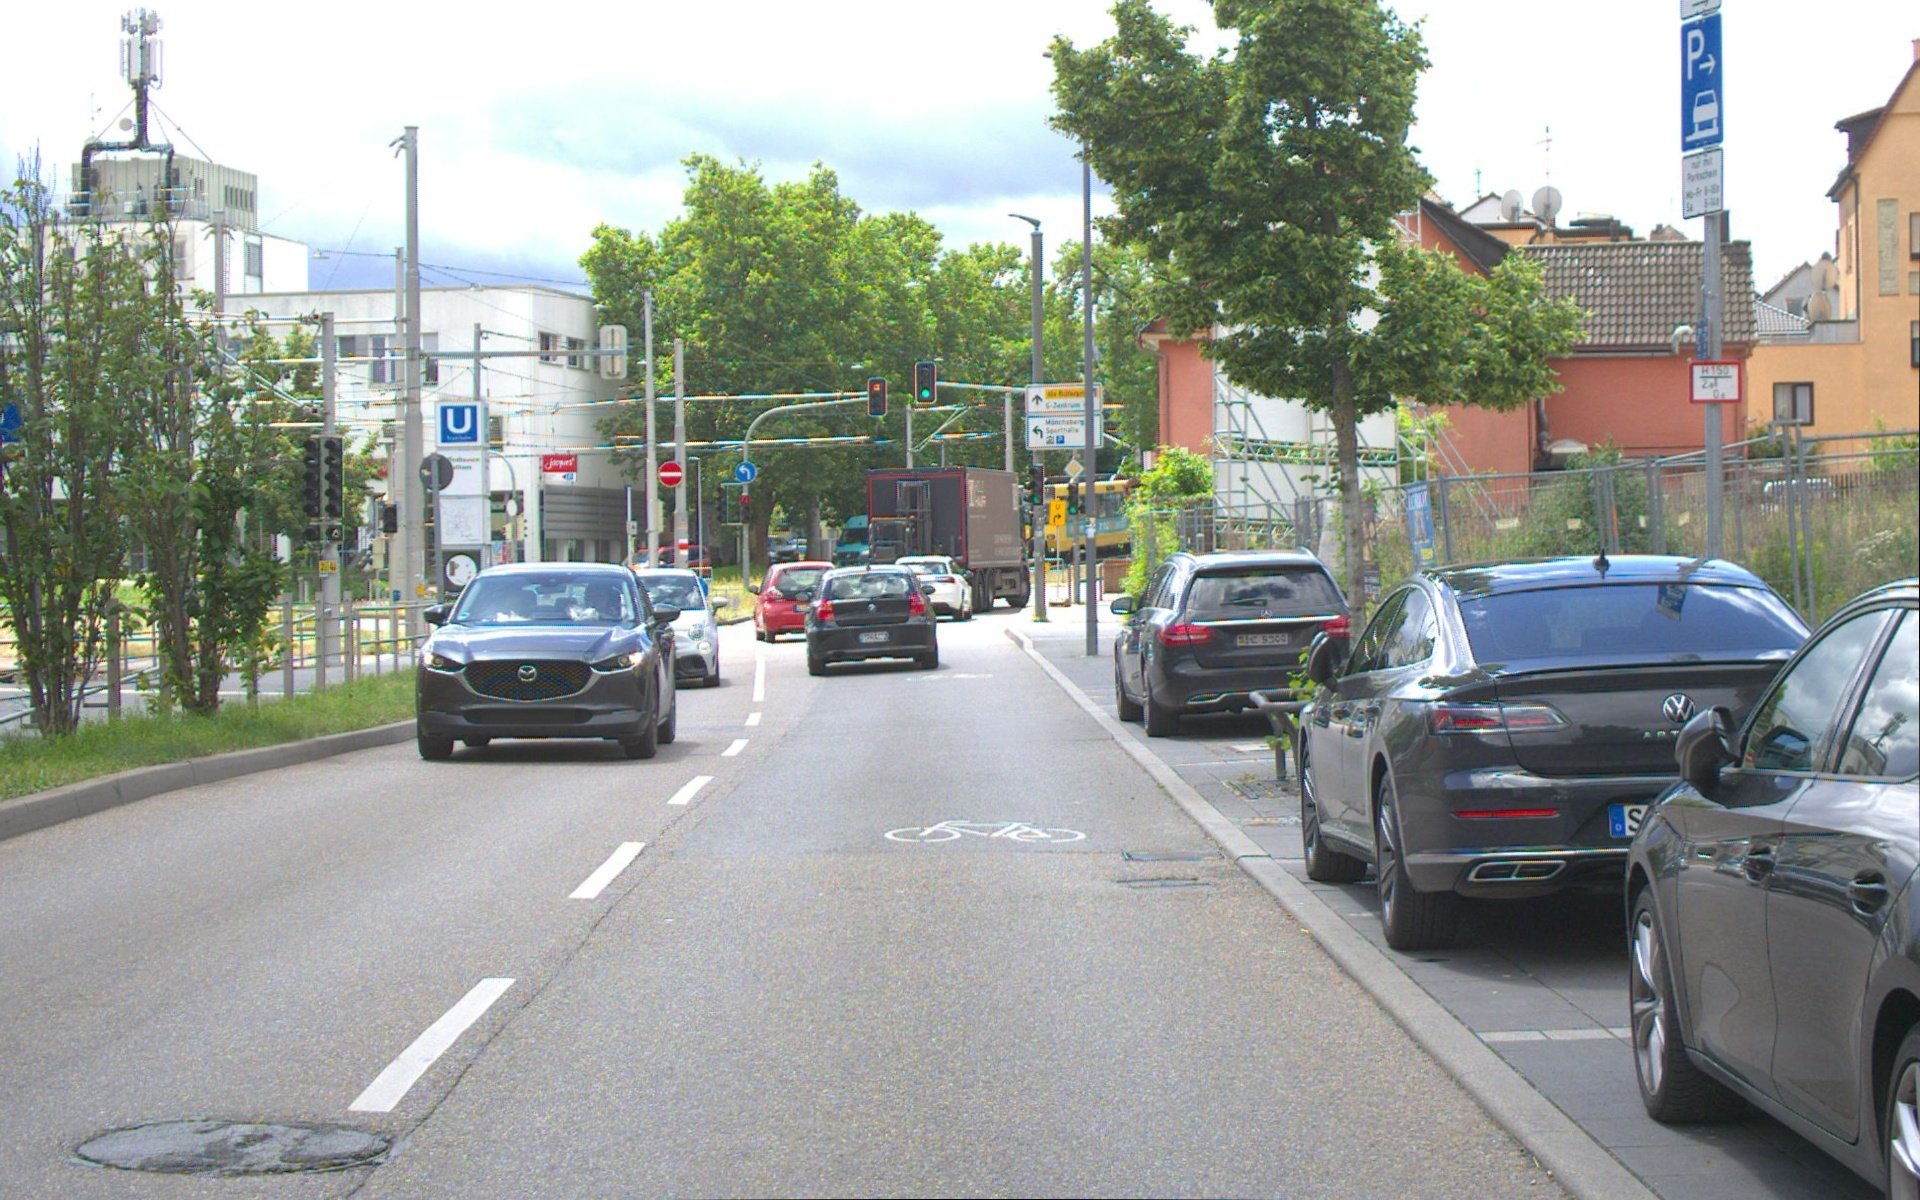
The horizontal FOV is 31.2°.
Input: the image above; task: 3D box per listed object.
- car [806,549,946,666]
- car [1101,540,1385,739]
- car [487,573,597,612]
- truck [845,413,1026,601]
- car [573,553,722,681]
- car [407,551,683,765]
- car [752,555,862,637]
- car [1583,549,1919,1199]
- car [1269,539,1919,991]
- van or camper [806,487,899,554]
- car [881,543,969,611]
[{"bbox_3d":[-1.167,0.070,46.372,1.726,1.451,3.809,-1,1,-3],"label":"car"},{"bbox_3d":[2.249,0.261,28.397,1.782,1.447,4.476,-2,1,-2],"label":"car"},{"bbox_3d":[-16.286,-0.312,134.155,1.998,1.459,3.991,0,1,39],"label":"car"},{"bbox_3d":[-0.523,-2.301,89.043,3.204,4.520,9.025,0,-1,9],"label":"truck"},{"bbox_3d":[-3.948,0.178,43.890,1.770,1.503,4.001,-1,1,-4],"label":"car"},{"bbox_3d":[-3.202,0.402,27.259,1.724,1.516,4.255,2,1,-1],"label":"car"},{"bbox_3d":[-2.865,-0.096,63.622,1.711,1.388,3.809,-1,1,-7],"label":"car"},{"bbox_3d":[2.535,0.622,7.335,1.692,1.456,4.147,-2,1,1],"label":"car"},{"bbox_3d":[2.408,0.517,13.778,1.865,1.446,4.643,-2,1,0],"label":"car"},{"bbox_3d":[-4.836,-3.558,155.285,2.177,2.796,6.063,0,-1,19],"label":"van or camper"},{"bbox_3d":[-0.827,-0.513,78.437,1.888,1.460,4.069,-1,0,-2],"label":"car"}]
